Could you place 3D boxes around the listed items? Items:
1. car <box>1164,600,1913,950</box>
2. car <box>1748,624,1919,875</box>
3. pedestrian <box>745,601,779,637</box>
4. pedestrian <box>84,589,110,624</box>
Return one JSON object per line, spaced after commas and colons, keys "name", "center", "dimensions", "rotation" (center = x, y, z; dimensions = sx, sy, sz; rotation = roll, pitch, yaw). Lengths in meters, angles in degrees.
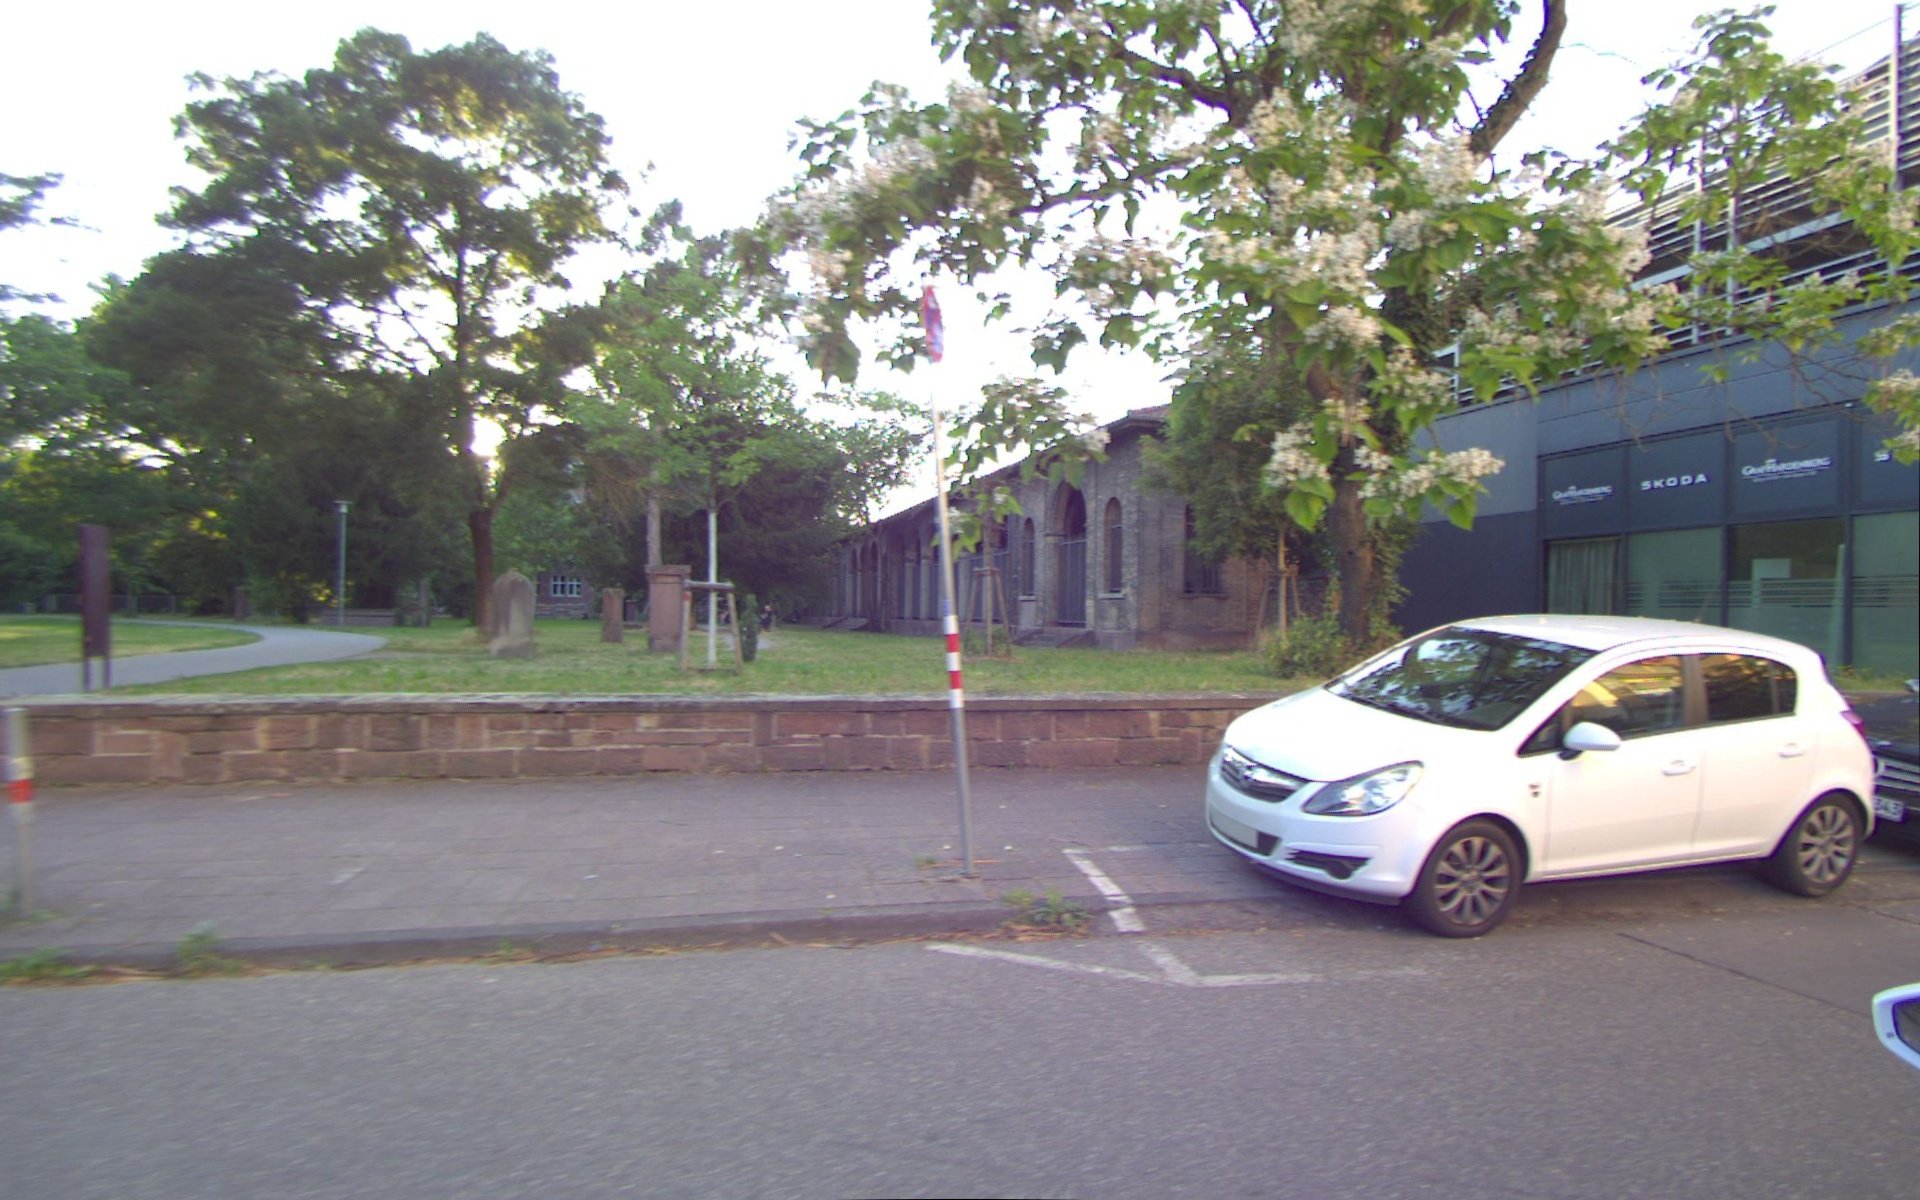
{"name": "car", "center": [3.325, 0.808, 5.931], "dimensions": [3.822, 1.535, 1.660], "rotation": [0, 2, -18]}
{"name": "car", "center": [7.964, 0.972, 6.829], "dimensions": [4.337, 1.435, 1.662], "rotation": [1, 4, -13]}
{"name": "pedestrian", "center": [-8.094, 0.767, 41.117], "dimensions": [1.257, 1.445, 1.236], "rotation": [0, -1, -5]}
{"name": "pedestrian", "center": [-42.910, 0.316, 49.959], "dimensions": [0.653, 1.691, 0.668], "rotation": [1, 0, 9]}
